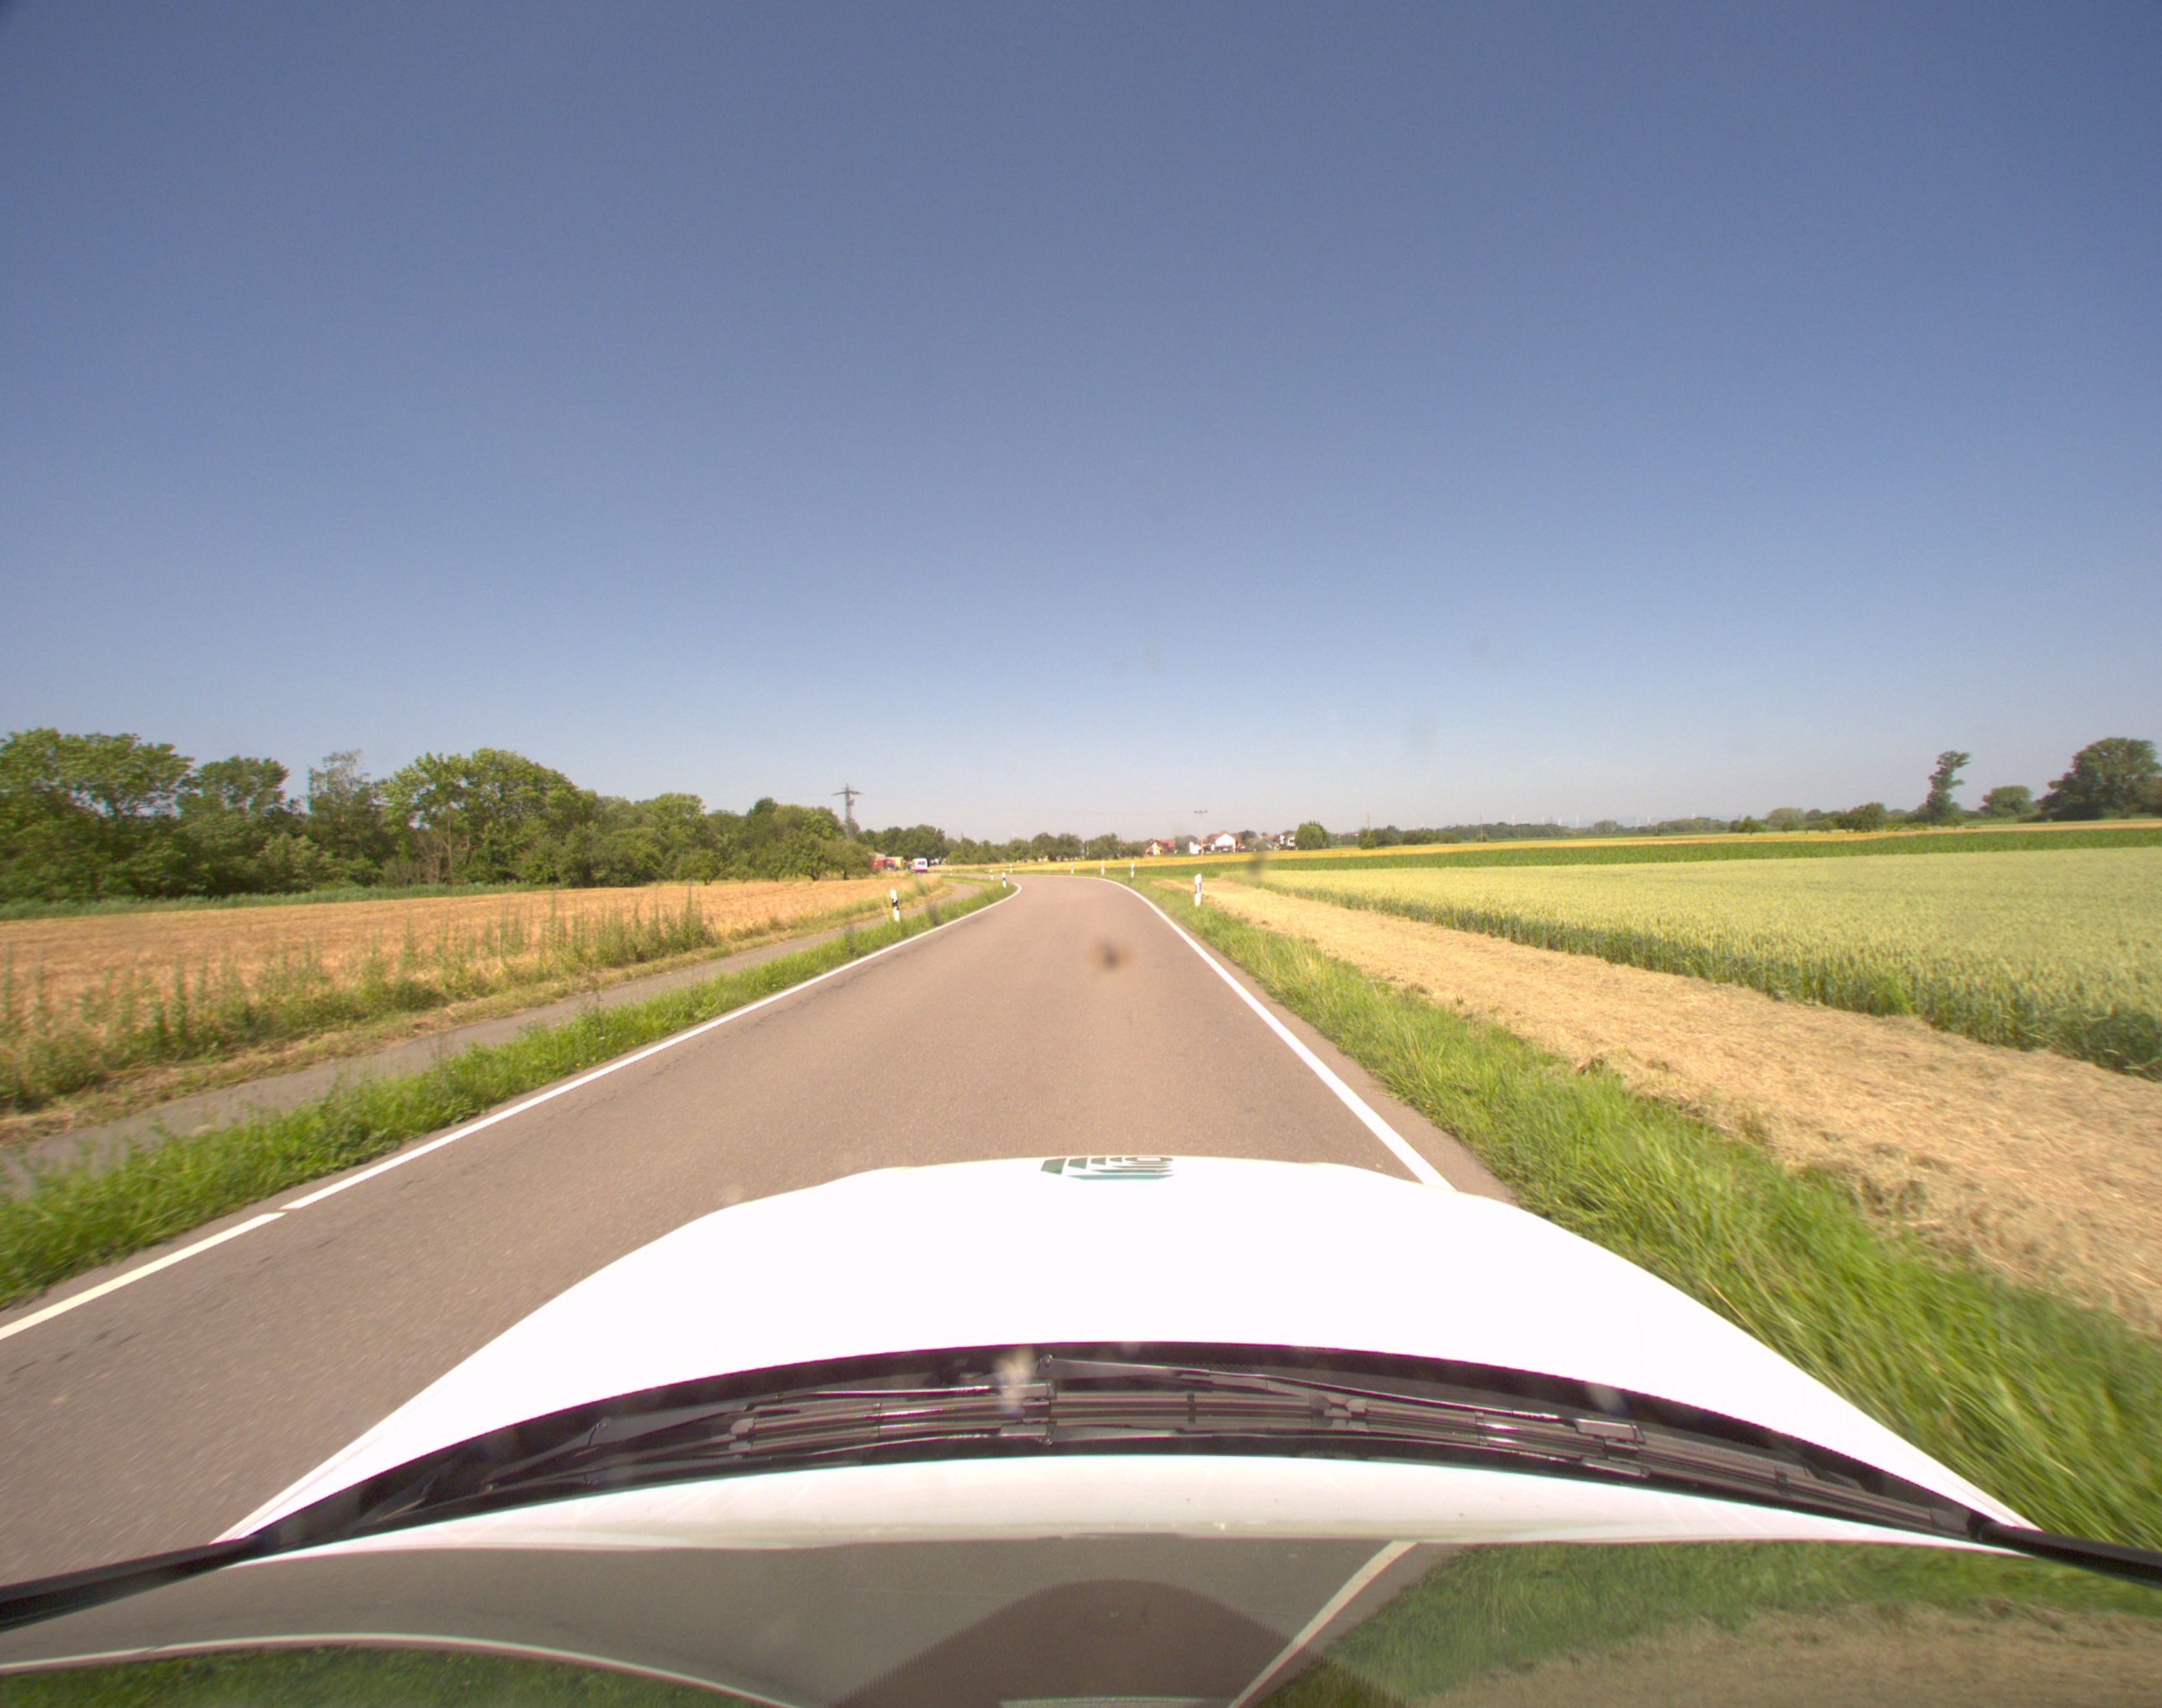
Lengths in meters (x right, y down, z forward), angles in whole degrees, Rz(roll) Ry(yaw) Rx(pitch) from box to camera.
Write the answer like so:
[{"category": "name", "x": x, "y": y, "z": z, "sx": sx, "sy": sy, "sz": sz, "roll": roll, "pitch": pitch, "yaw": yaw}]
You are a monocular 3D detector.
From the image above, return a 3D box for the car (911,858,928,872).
[{"category": "car", "x": -27.250, "y": 1.836, "z": 137.511, "sx": 2.000, "sy": 2.266, "sz": 4.694, "roll": -2, "pitch": 0, "yaw": -20}]

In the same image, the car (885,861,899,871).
[{"category": "car", "x": -34.696, "y": 2.209, "z": 149.356, "sx": 1.893, "sy": 1.714, "sz": 3.987, "roll": -4, "pitch": 0, "yaw": -20}]
